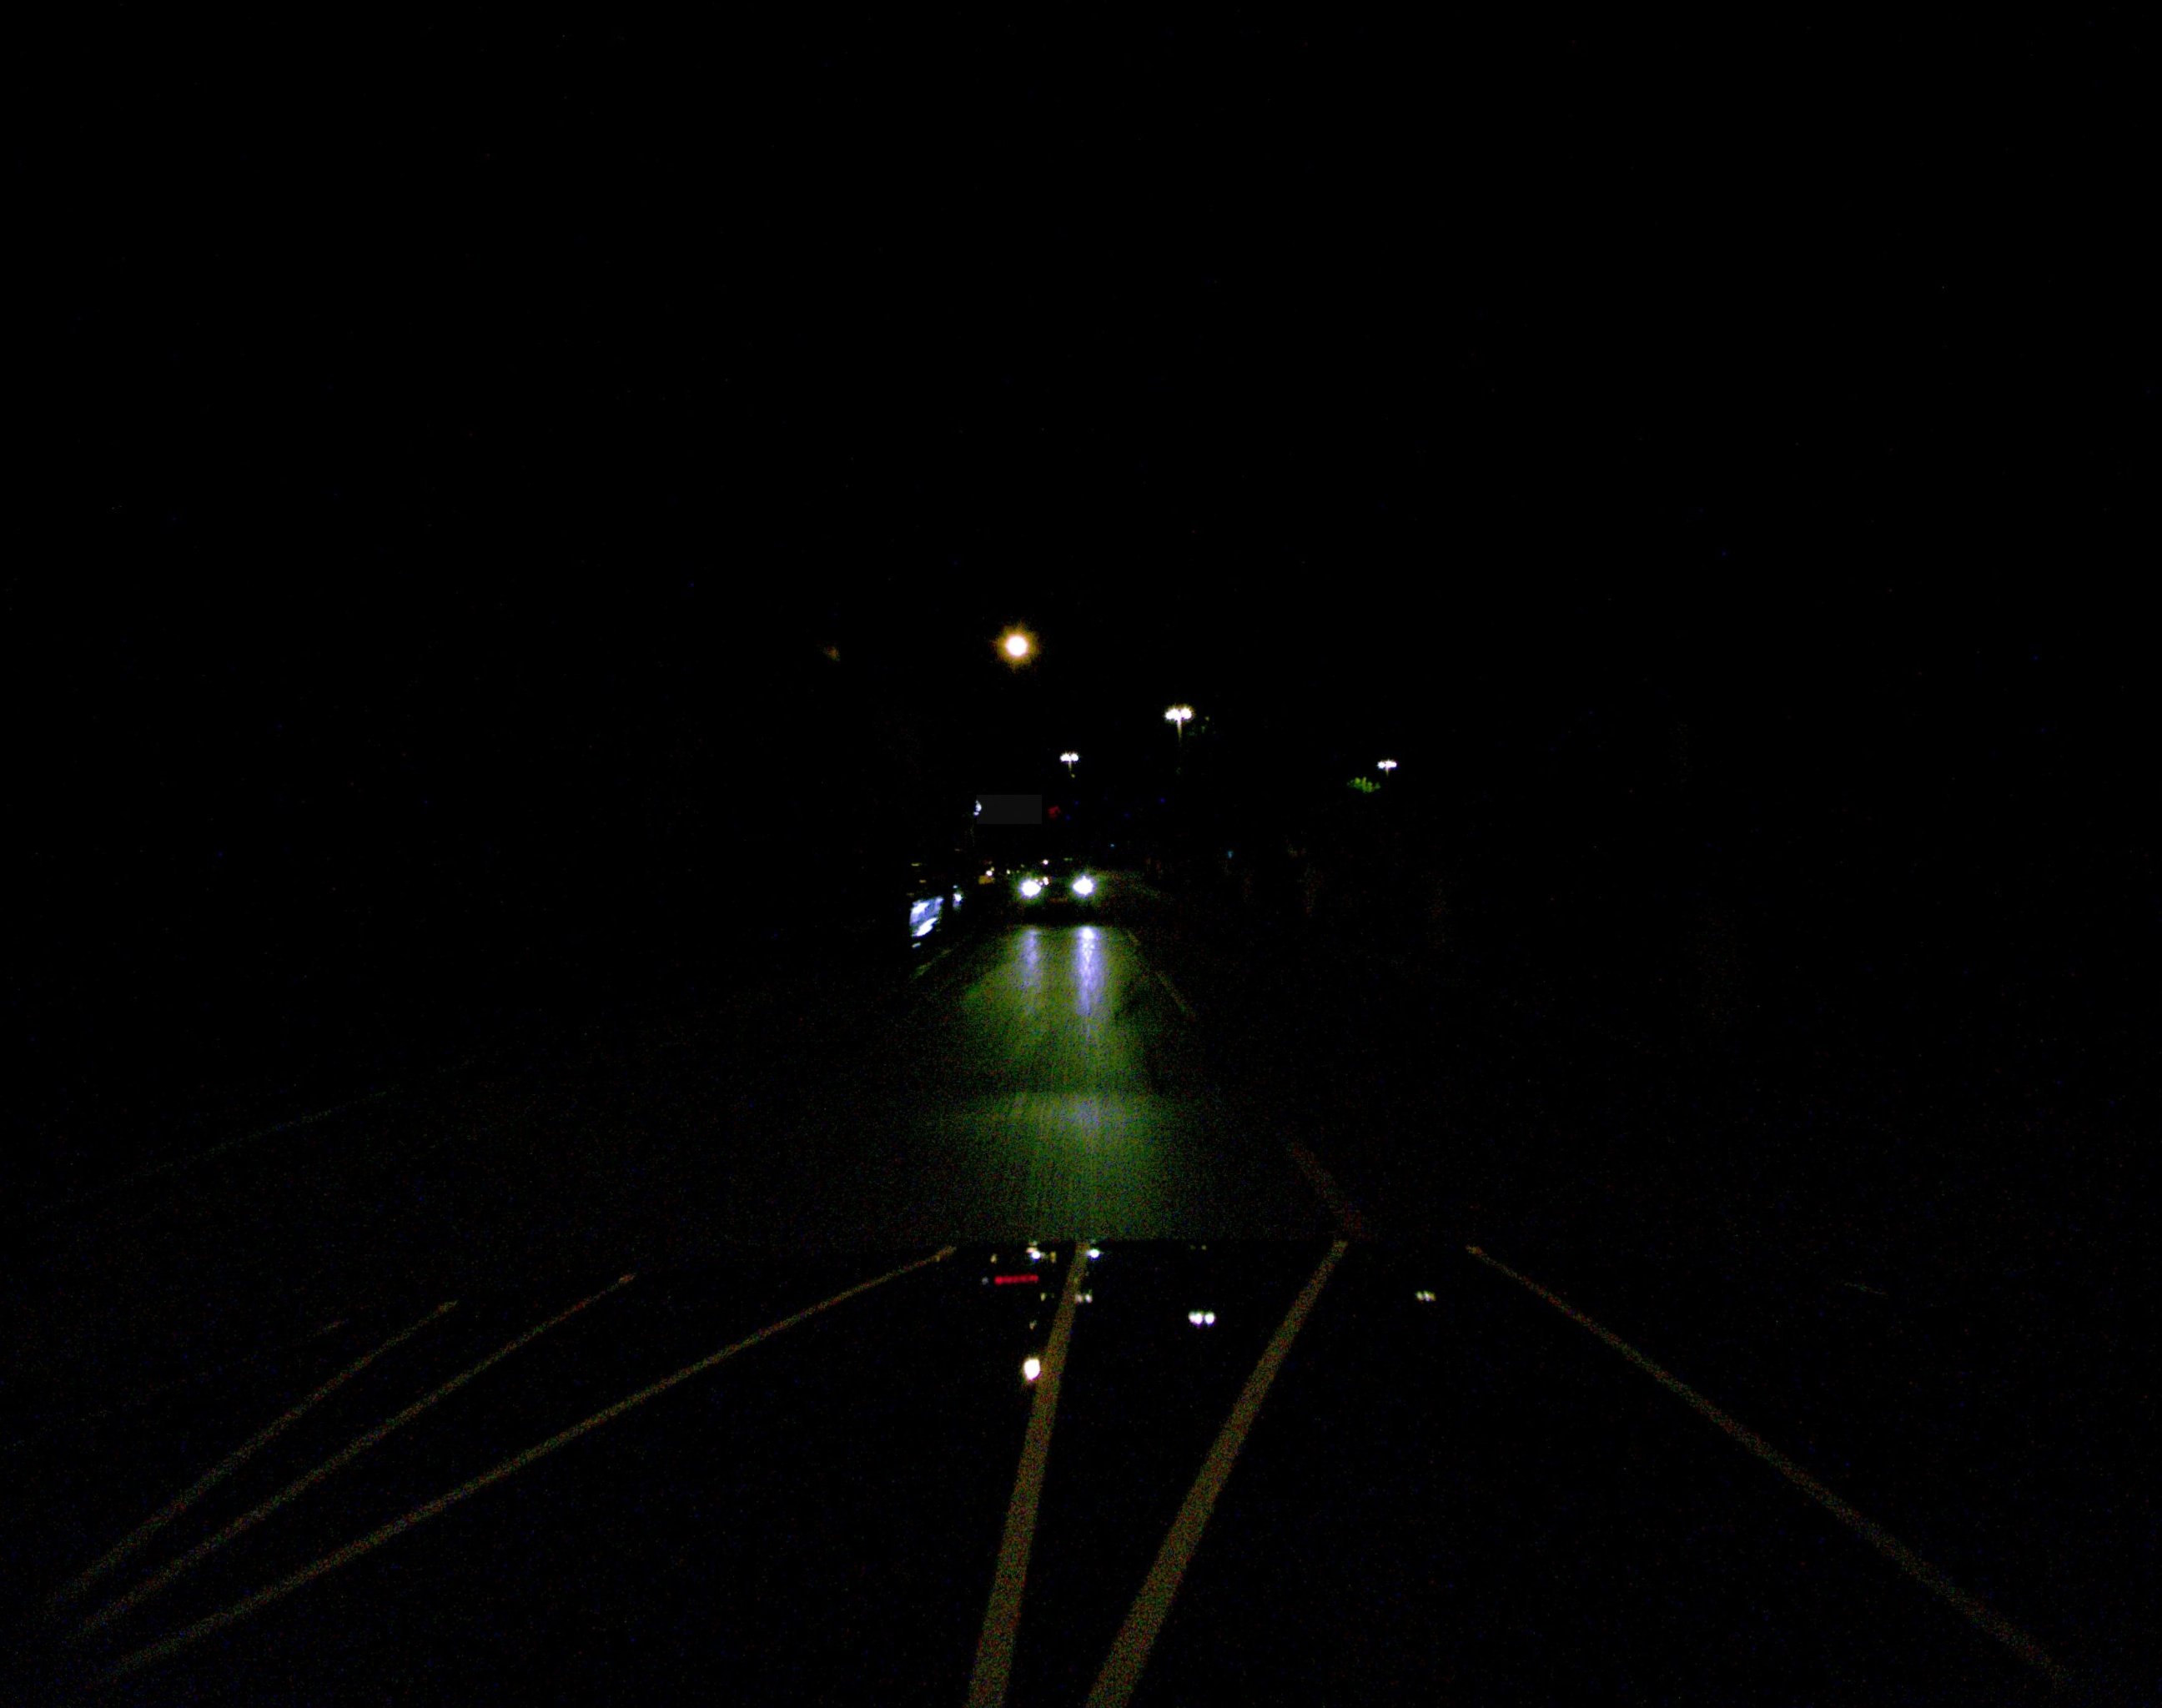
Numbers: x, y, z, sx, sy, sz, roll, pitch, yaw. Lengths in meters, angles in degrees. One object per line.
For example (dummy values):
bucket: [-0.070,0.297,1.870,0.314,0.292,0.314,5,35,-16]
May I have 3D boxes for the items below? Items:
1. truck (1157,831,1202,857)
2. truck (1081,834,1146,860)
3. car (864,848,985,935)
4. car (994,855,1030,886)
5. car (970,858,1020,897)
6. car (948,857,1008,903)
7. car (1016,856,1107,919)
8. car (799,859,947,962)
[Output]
truck: [14.333,-1.447,110.719,6.196,3.672,2.403,-1,1,12]
truck: [4.845,-1.052,112.600,9.341,3.701,2.002,-1,1,15]
car: [-3.844,0.818,19.677,2.077,1.917,5.369,0,1,-1]
car: [-4.000,0.947,44.590,1.748,1.673,4.257,0,1,-1]
car: [-3.746,0.993,33.937,1.748,1.500,4.832,0,1,-1]
car: [-3.810,0.917,28.770,1.748,1.556,4.209,0,1,-1]
car: [-0.450,0.886,21.704,1.997,1.606,4.002,0,0,7]
car: [-3.793,0.949,14.622,1.824,1.590,4.219,1,1,-2]
